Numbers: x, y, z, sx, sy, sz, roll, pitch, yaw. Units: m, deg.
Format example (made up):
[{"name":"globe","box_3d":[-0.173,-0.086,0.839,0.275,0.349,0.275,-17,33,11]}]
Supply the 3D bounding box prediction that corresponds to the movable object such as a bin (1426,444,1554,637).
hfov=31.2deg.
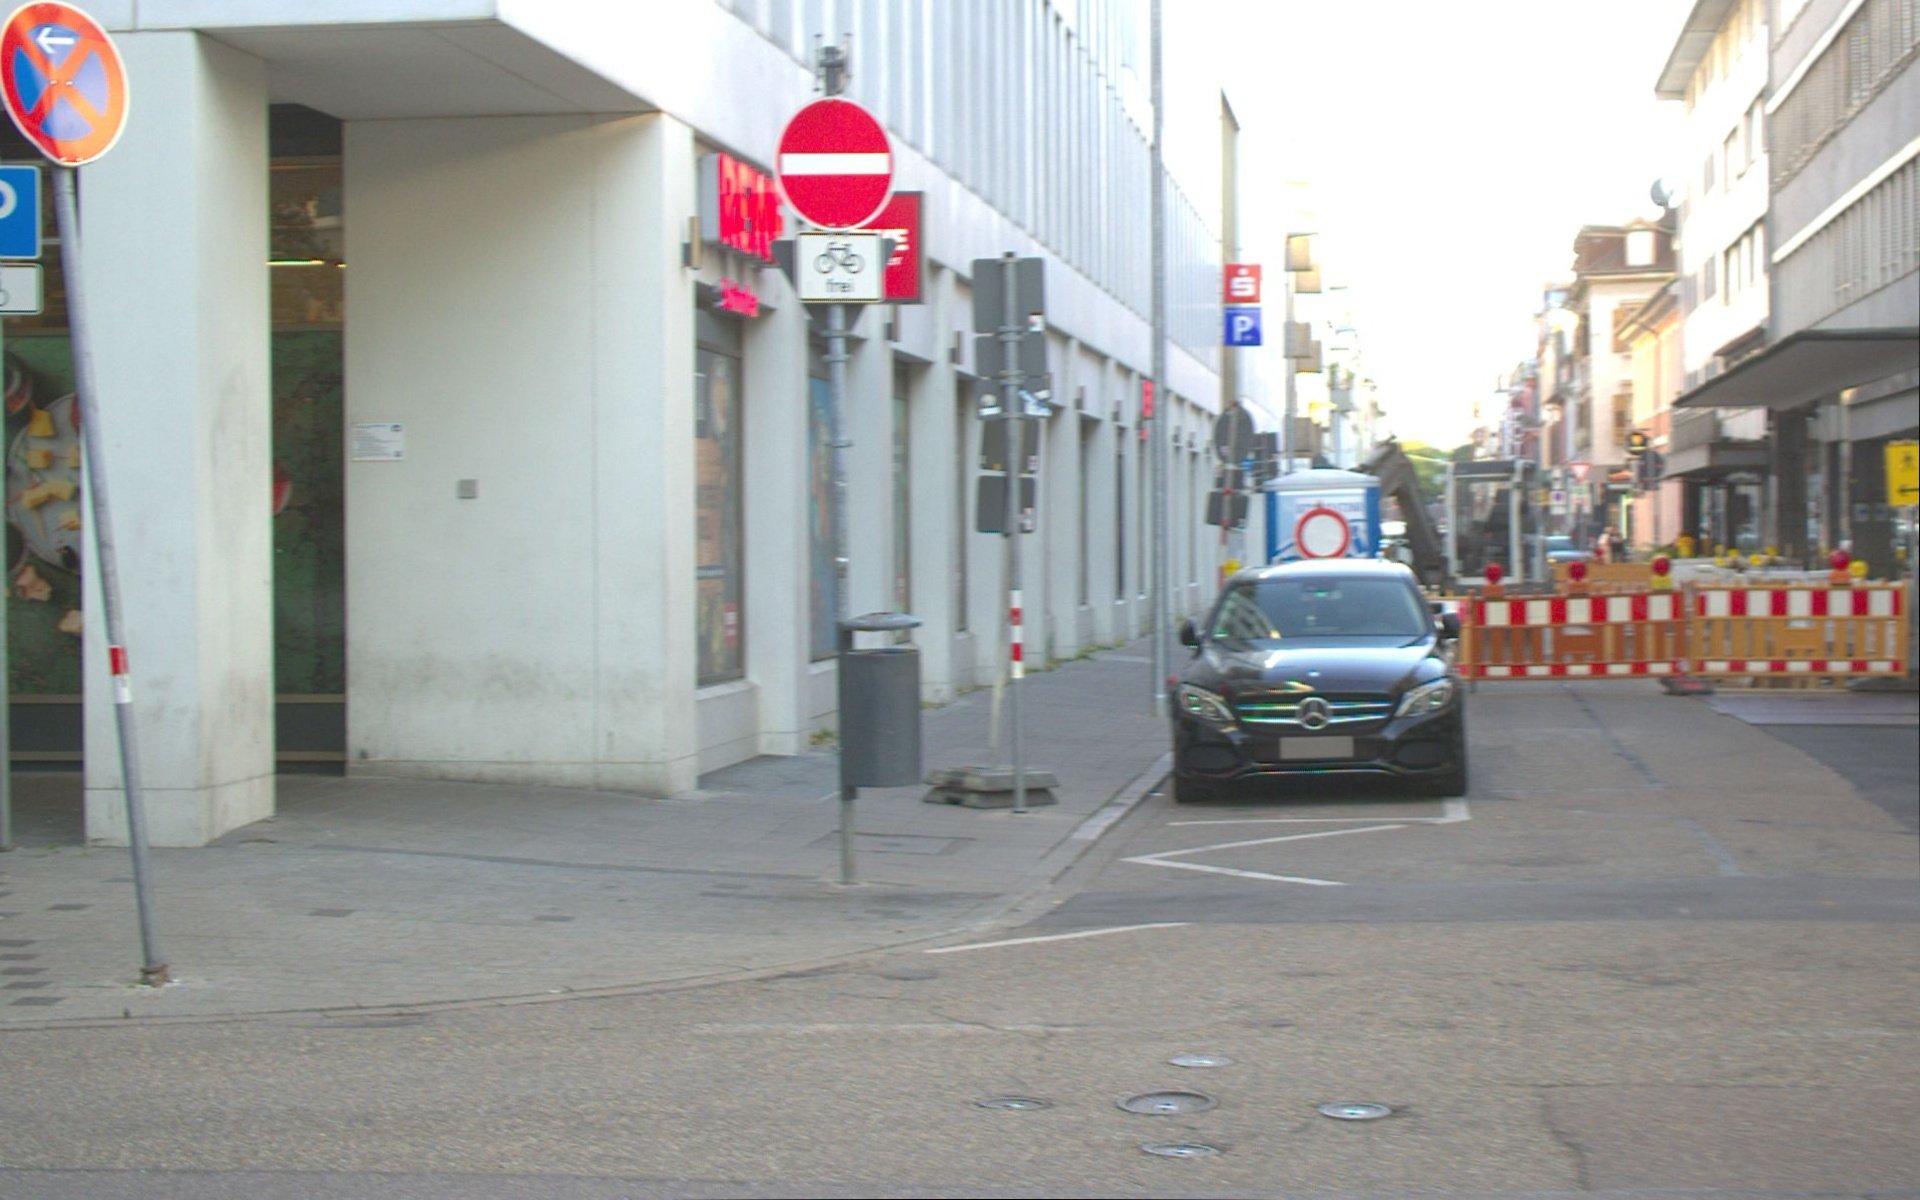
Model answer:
[{"name":"movable object such as a bin","box_3d":[6.997,-0.783,45.315,1.438,2.485,1.756,0,1,16]}]

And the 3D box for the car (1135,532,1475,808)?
[{"name":"car","box_3d":[2.333,0.390,22.295,1.898,1.607,4.150,-1,1,10]}]

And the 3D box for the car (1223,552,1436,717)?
[{"name":"car","box_3d":[3.621,0.289,33.109,1.774,1.470,4.150,-1,1,10]}]
